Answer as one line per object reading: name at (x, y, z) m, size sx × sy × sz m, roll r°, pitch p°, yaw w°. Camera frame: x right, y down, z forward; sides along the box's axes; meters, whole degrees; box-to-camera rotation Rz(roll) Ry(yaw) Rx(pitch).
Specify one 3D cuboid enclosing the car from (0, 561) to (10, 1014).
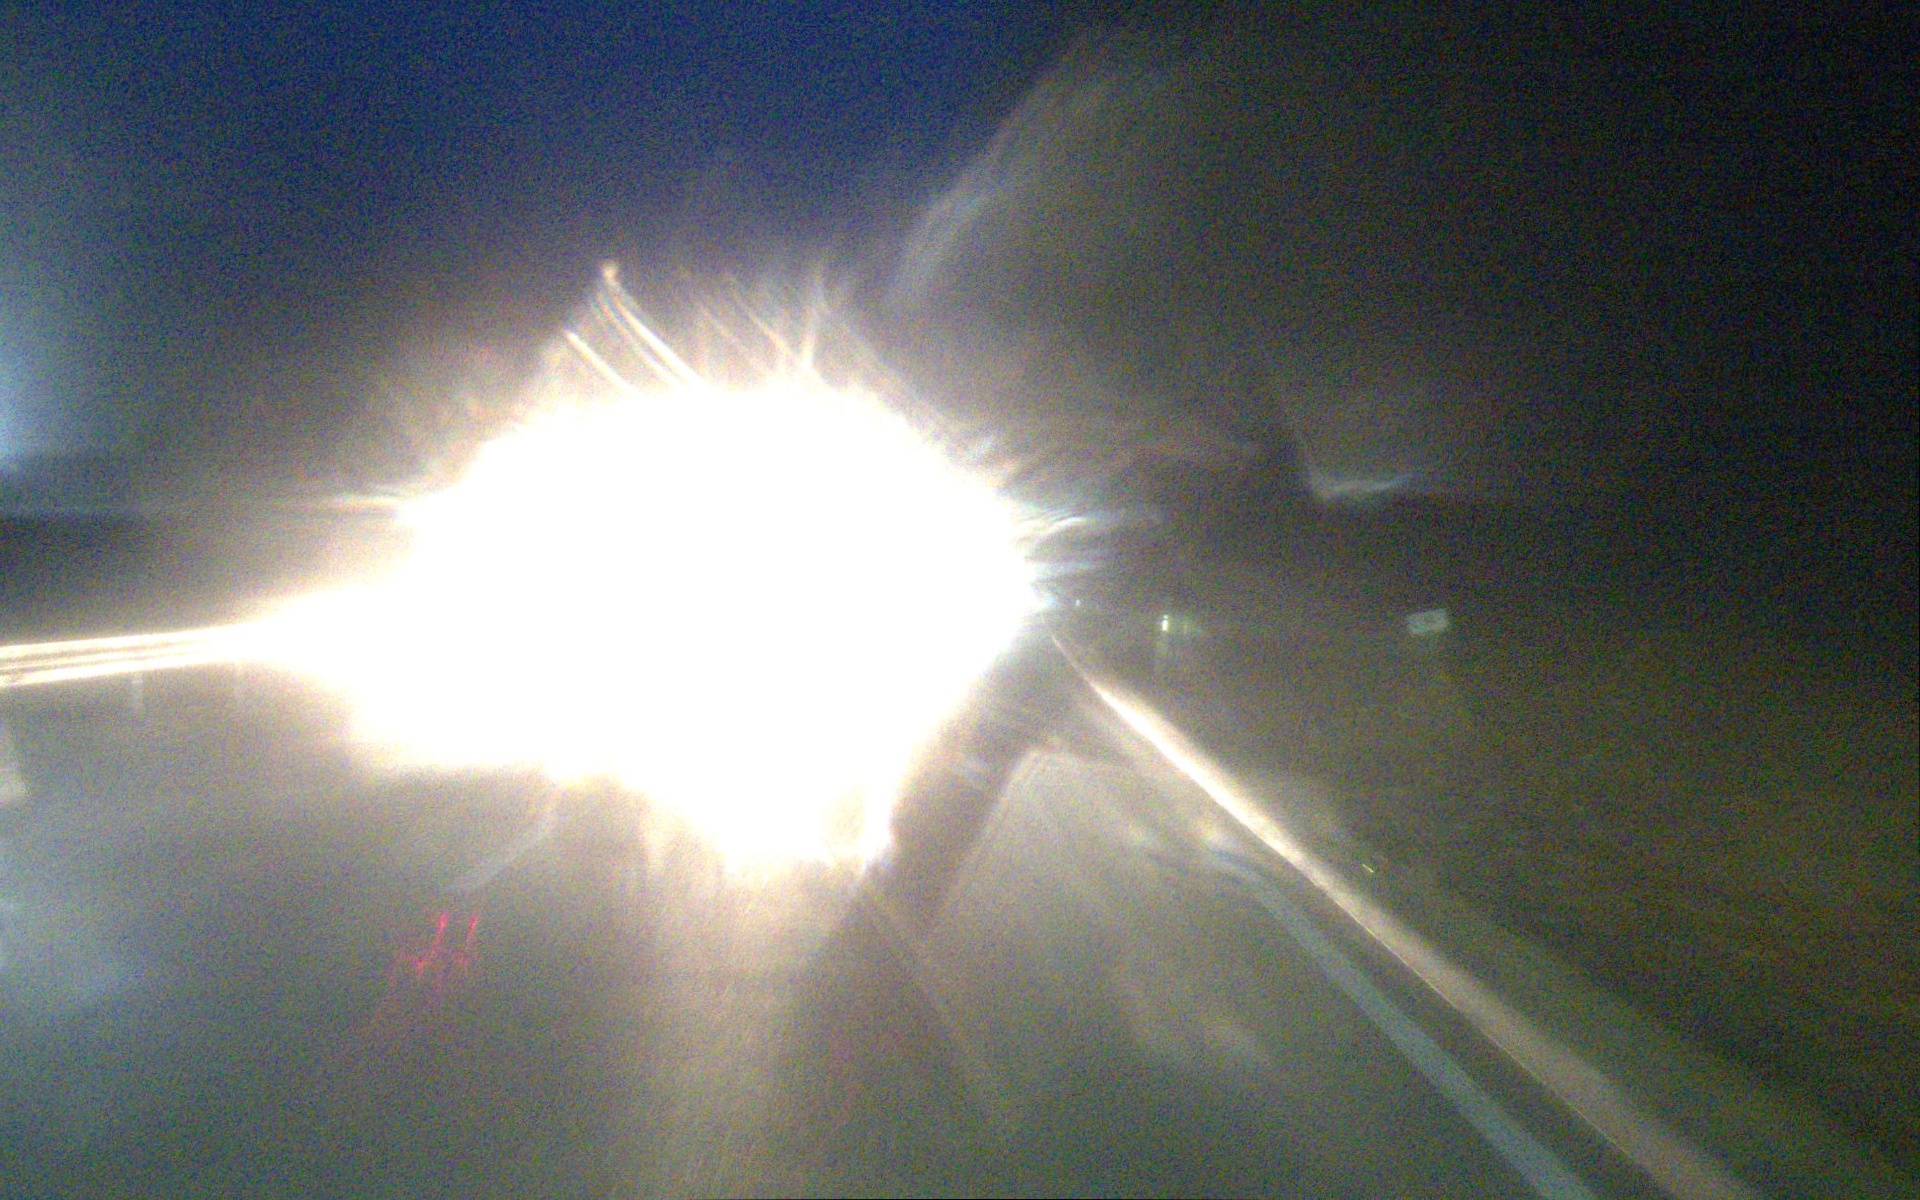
car at (-3.741, 0.614, 8.787) m, size 1.644 × 1.420 × 4.124 m, roll 1°, pitch 1°, yaw -3°

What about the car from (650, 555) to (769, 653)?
car at (-4.192, 0.037, 58.049) m, size 1.716 × 1.512 × 3.878 m, roll -2°, pitch 1°, yaw -1°

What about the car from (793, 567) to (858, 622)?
car at (-3.878, -0.174, 99.608) m, size 1.716 × 1.466 × 3.708 m, roll -2°, pitch 1°, yaw -1°
